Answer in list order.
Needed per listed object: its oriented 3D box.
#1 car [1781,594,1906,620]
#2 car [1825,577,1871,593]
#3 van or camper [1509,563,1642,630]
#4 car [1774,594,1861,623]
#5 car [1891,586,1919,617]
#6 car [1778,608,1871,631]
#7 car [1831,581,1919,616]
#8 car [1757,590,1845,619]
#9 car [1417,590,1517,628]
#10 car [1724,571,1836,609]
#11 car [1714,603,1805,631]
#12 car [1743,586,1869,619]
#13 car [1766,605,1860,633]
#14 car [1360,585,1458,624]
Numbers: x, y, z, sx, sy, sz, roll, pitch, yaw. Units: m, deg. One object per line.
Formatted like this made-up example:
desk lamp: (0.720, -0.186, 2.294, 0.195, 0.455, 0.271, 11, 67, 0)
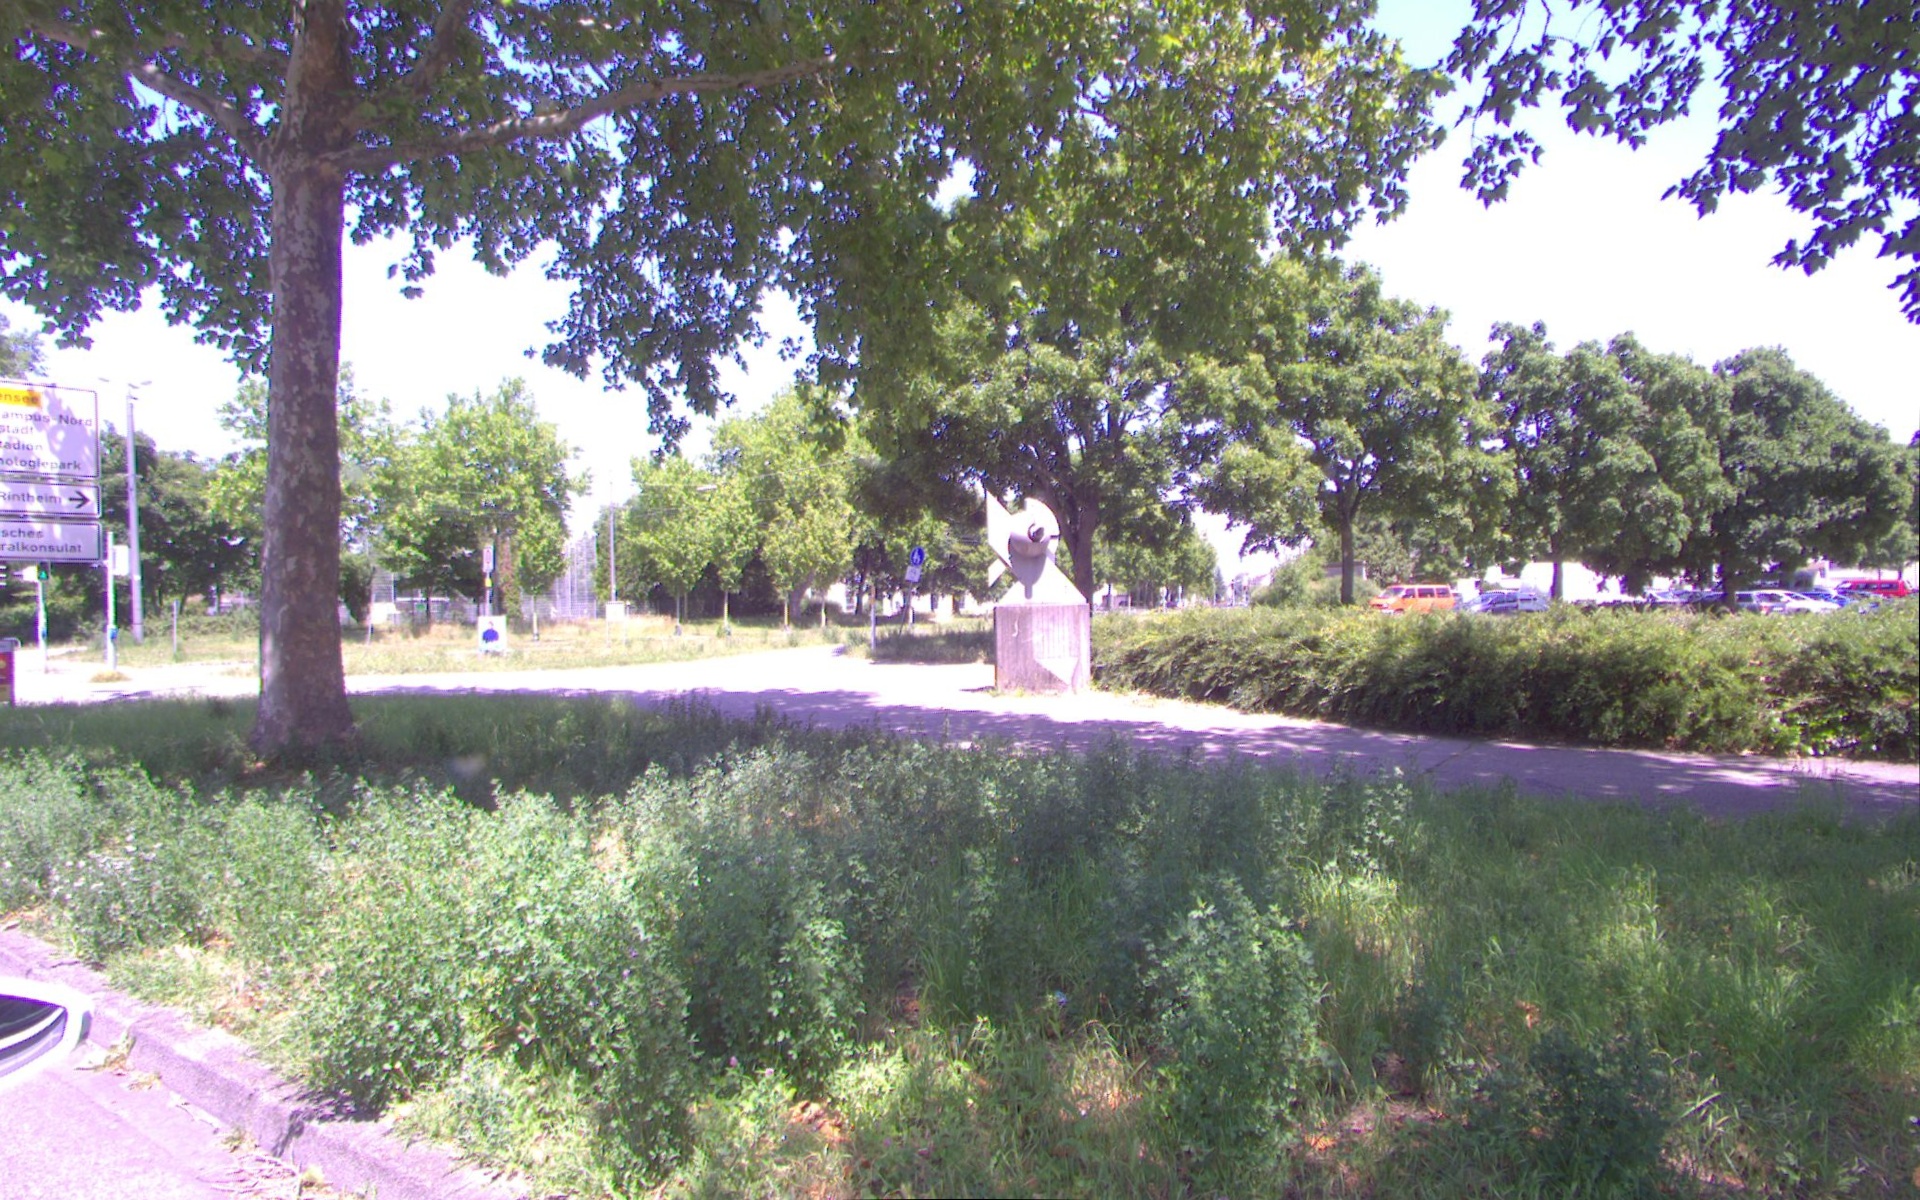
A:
car: (36.724, 0.295, 41.695, 1.655, 1.048, 3.553, -1, 0, -25)
car: (92.698, -1.553, 104.543, 3.309, 1.639, 1.439, -1, 0, 19)
van or camper: (27.012, -0.161, 43.983, 5.039, 2.787, 2.199, -1, 0, -18)
car: (35.380, 0.363, 41.349, 0.938, 1.141, 2.590, -1, 0, -25)
car: (44.623, 0.052, 45.238, 1.690, 1.384, 3.414, -1, 0, -25)
car: (33.556, 0.762, 38.932, 0.938, 0.852, 2.590, -1, 0, -25)
car: (57.231, -0.056, 62.423, 1.935, 2.039, 3.989, 1, -2, -23)
car: (34.374, 0.175, 40.978, 0.991, 1.141, 2.590, -1, 0, -25)
car: (23.937, 0.411, 47.315, 4.000, 1.741, 1.952, -1, 0, -18)
car: (46.417, -0.549, 56.789, 2.209, 2.040, 4.409, -1, 0, -22)
car: (30.723, 0.647, 38.531, 0.938, 1.050, 2.590, -1, 0, -25)
car: (34.392, 0.085, 40.789, 1.595, 1.242, 3.559, 0, 1, -25)
car: (32.497, 0.716, 38.209, 0.938, 1.000, 2.590, -1, 0, -25)
car: (23.851, 0.228, 53.224, 4.582, 2.029, 2.069, 0, 0, -19)
